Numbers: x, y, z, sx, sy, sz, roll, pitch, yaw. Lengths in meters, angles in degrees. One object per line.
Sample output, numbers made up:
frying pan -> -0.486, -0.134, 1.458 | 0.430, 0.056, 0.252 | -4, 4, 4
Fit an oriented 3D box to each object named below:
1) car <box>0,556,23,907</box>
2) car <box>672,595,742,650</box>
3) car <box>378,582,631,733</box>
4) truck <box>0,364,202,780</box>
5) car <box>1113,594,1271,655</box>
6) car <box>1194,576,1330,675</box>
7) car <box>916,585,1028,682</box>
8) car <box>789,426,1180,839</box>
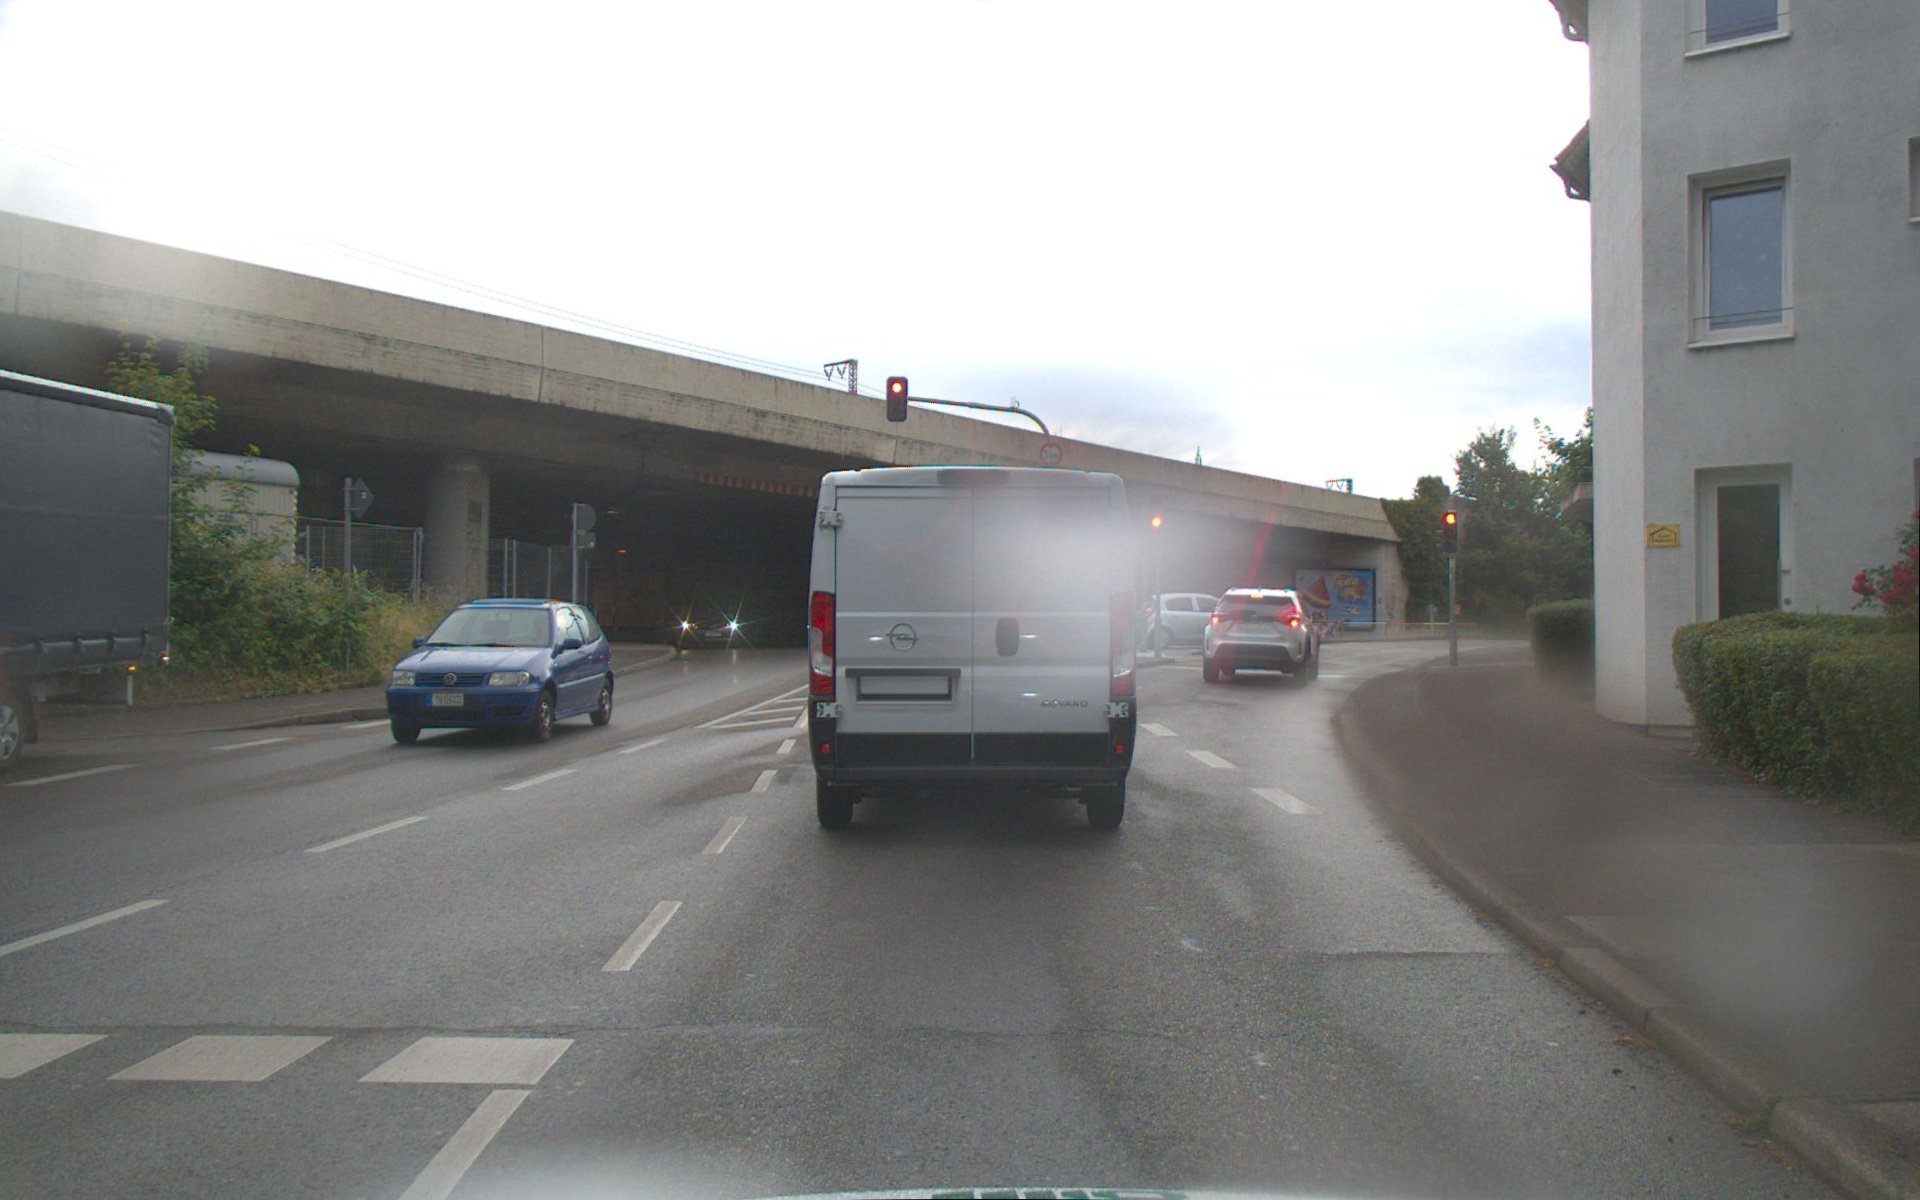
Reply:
car -> -5.372, 0.615, 5.566 | 1.793, 1.606, 4.336 | 1, 1, 3
car -> -7.752, 0.647, 50.481 | 1.810, 1.596, 4.398 | 0, 0, -13
car -> -4.783, 0.546, 17.881 | 1.564, 1.450, 3.698 | 0, 0, 2
truck -> -8.906, -0.232, 12.418 | 2.556, 3.293, 7.778 | 0, 0, 2
car -> 6.300, 0.676, 45.169 | 3.911, 1.581, 1.997 | 1, -1, -7
car -> 5.291, 0.440, 28.581 | 1.951, 1.576, 4.002 | 0, -1, 16
car -> 0.296, 0.651, 32.245 | 1.952, 1.759, 4.001 | 0, -1, 3
car -> 0.172, 0.177, 12.304 | 2.257, 2.384, 5.282 | -1, 0, 1
